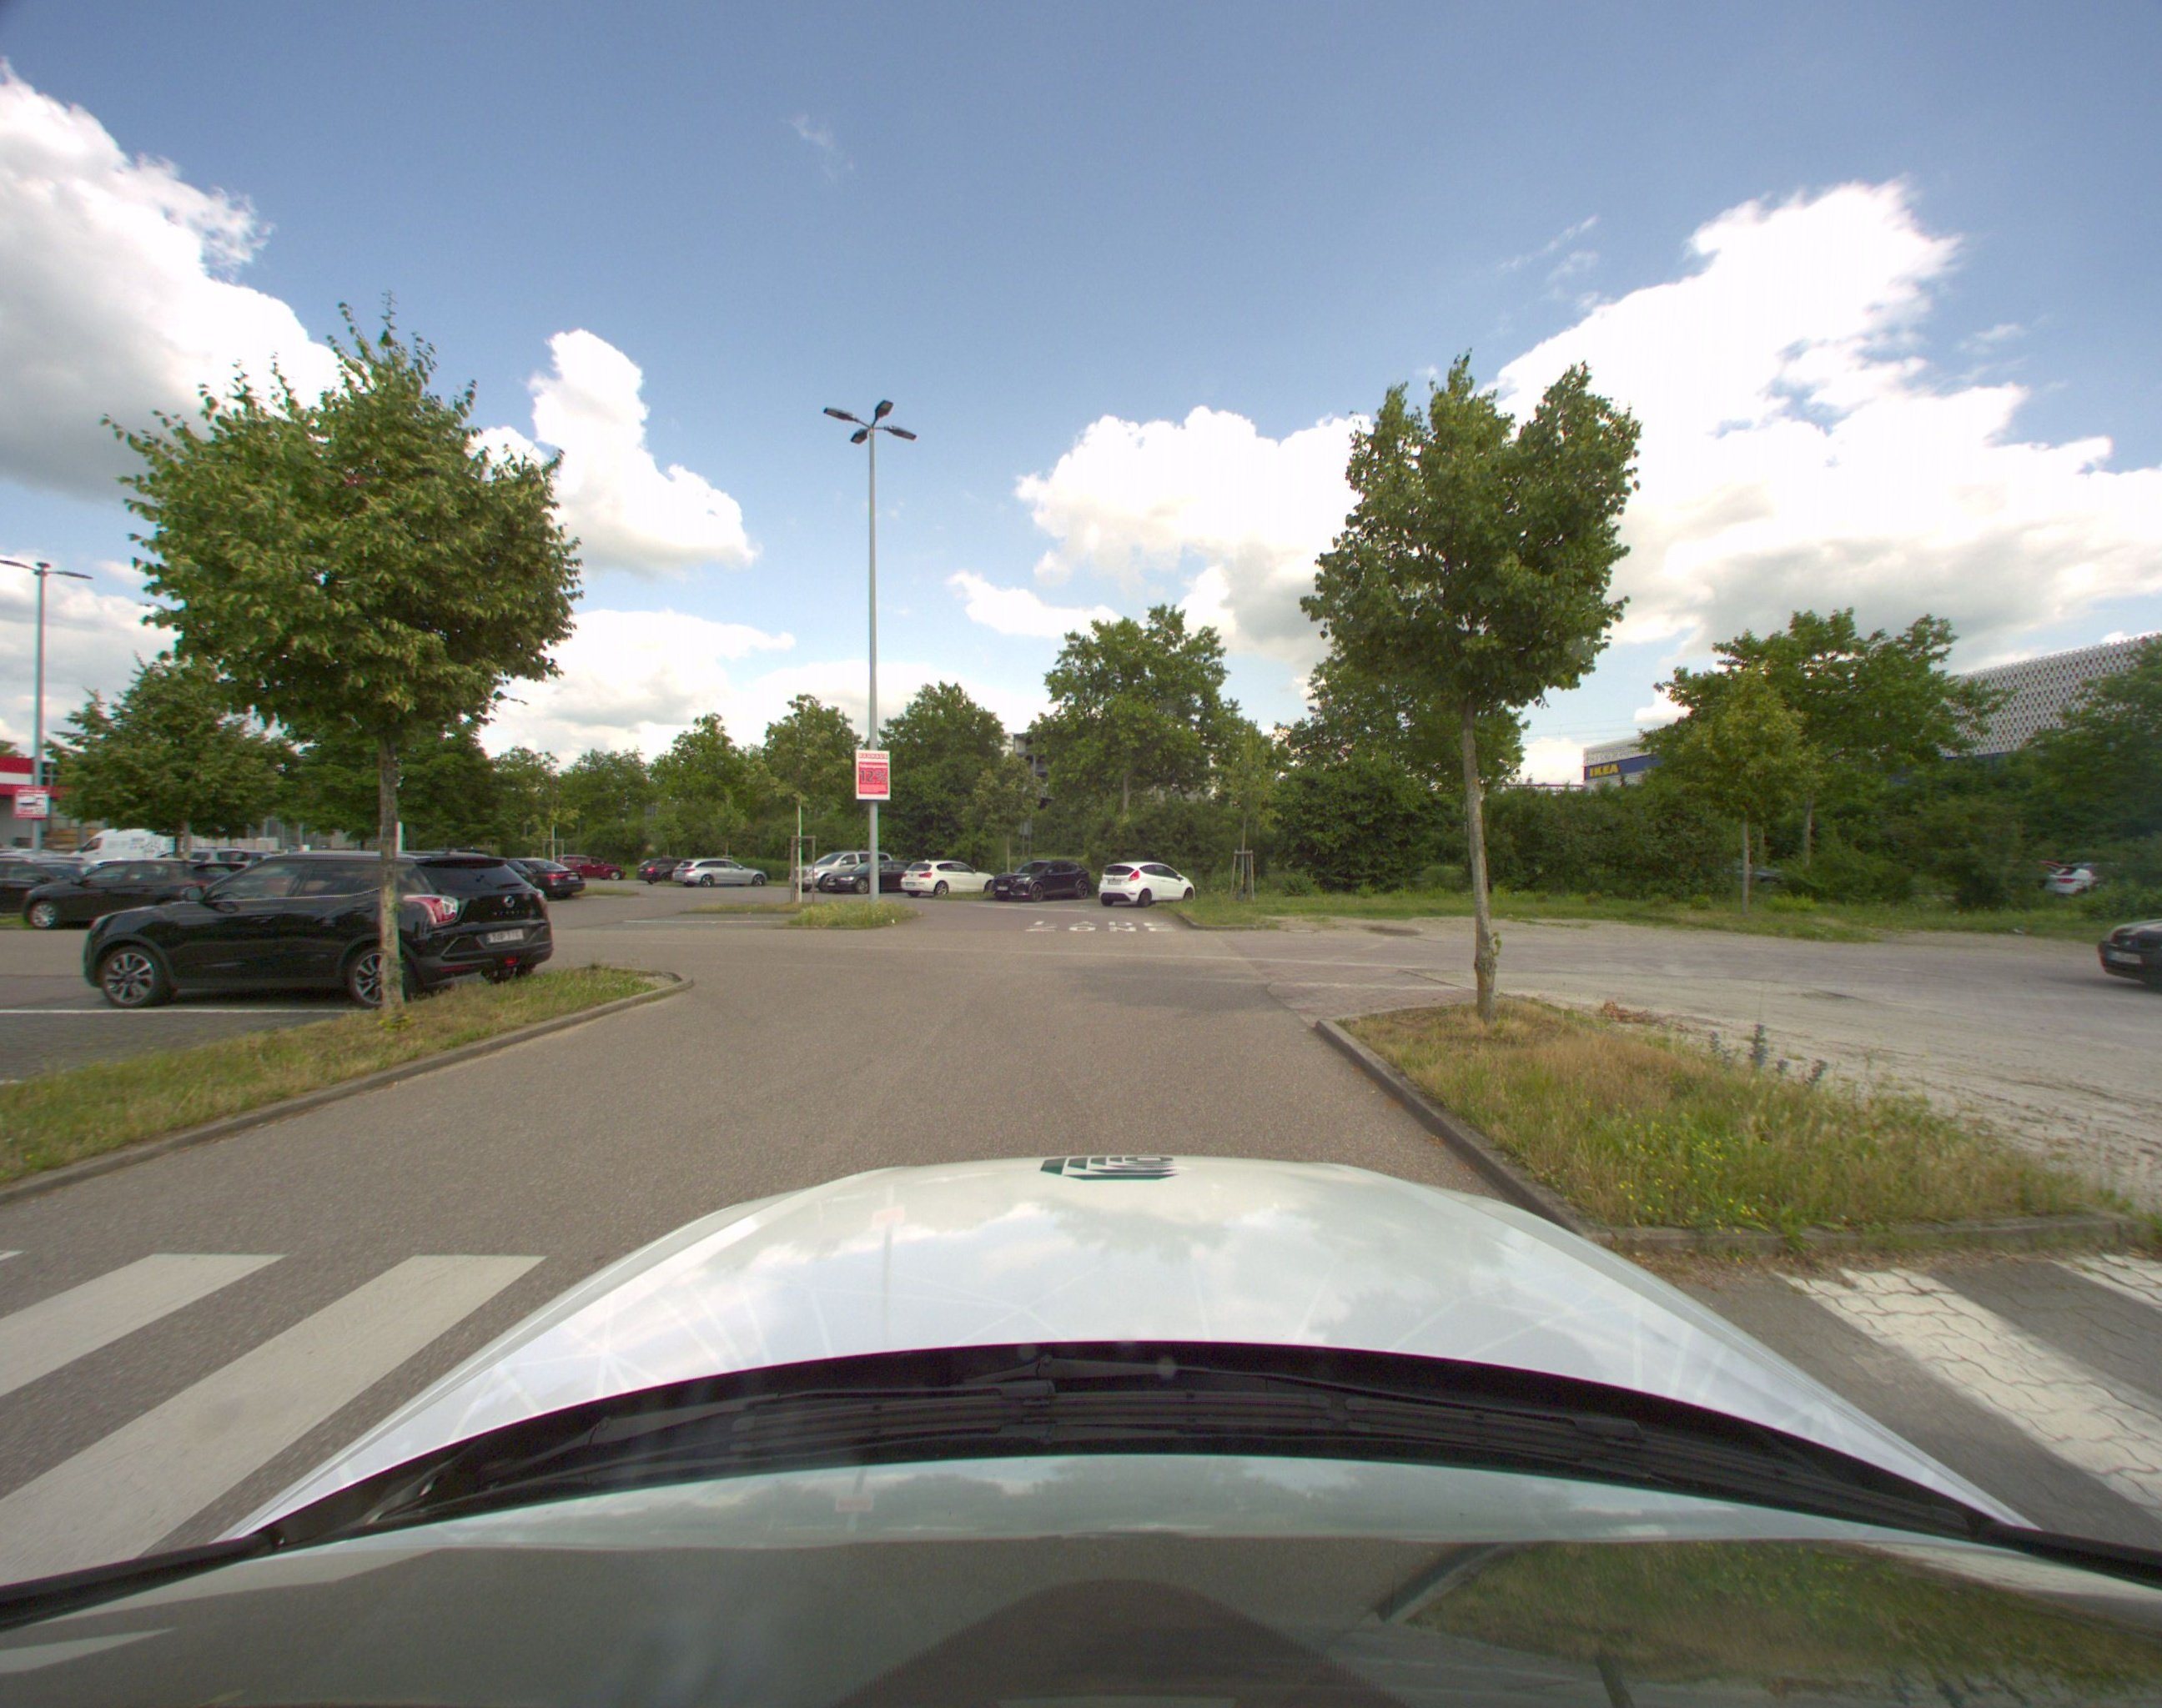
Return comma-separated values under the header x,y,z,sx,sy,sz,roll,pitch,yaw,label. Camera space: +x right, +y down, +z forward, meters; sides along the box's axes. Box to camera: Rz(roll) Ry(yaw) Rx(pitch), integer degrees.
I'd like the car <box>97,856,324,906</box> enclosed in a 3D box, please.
x,y,z,sx,sy,sz,roll,pitch,yaw,label
-24.464,0.724,23.020,4.255,1.353,1.893,0,0,-2,car

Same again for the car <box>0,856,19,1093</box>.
x,y,z,sx,sy,sz,roll,pitch,yaw,label
-8.149,0.696,4.015,3.736,1.368,1.622,0,0,1,car

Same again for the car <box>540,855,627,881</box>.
x,y,z,sx,sy,sz,roll,pitch,yaw,label
-31.970,0.843,52.433,1.974,1.596,4.348,0,0,34,car

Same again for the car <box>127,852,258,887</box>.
x,y,z,sx,sy,sz,roll,pitch,yaw,label
-41.619,0.706,38.208,3.974,1.596,1.910,0,0,-1,car

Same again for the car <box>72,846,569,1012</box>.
x,y,z,sx,sy,sz,roll,pitch,yaw,label
-8.159,0.739,8.991,3.933,1.624,1.738,0,0,3,car

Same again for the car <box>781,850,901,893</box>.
x,y,z,sx,sy,sz,roll,pitch,yaw,label
-10.887,0.733,37.320,1.965,1.842,5.180,0,0,35,car

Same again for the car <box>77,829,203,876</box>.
x,y,z,sx,sy,sz,roll,pitch,yaw,label
-53.166,-0.065,46.092,4.695,2.510,2.054,1,-1,1,car

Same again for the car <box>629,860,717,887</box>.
x,y,z,sx,sy,sz,roll,pitch,yaw,label
-22.621,1.066,45.282,1.677,1.381,4.025,-2,-1,35,car

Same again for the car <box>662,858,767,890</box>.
x,y,z,sx,sy,sz,roll,pitch,yaw,label
-18.811,0.996,42.035,1.761,1.504,4.684,0,0,35,car

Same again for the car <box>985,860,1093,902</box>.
x,y,z,sx,sy,sz,roll,pitch,yaw,label
-1.488,0.950,30.246,1.711,1.410,4.270,0,0,36,car

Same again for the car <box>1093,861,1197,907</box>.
x,y,z,sx,sy,sz,roll,pitch,yaw,label
2.186,0.939,27.151,1.649,1.411,3.579,0,0,41,car

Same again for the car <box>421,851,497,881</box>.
x,y,z,sx,sy,sz,roll,pitch,yaw,label
-44.017,0.872,57.721,1.931,2.019,4.064,-1,-2,6,car

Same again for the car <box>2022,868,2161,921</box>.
x,y,z,sx,sy,sz,roll,pitch,yaw,label
35.323,1.379,27.651,3.948,1.716,2.012,-2,-4,34,car

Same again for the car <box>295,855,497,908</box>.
x,y,z,sx,sy,sz,roll,pitch,yaw,label
-18.984,0.731,22.697,4.062,1.399,1.766,0,0,-1,car

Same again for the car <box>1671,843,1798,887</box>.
x,y,z,sx,sy,sz,roll,pitch,yaw,label
27.016,0.434,33.866,3.948,1.715,2.013,0,0,34,car

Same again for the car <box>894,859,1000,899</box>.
x,y,z,sx,sy,sz,roll,pitch,yaw,label
-5.318,0.954,32.736,1.668,1.509,4.107,-1,-1,39,car

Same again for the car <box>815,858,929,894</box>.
x,y,z,sx,sy,sz,roll,pitch,yaw,label
-9.055,0.902,35.696,1.816,1.451,4.755,0,0,37,car

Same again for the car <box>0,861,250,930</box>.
x,y,z,sx,sy,sz,roll,pitch,yaw,label
-20.500,0.847,17.362,3.855,1.369,1.730,0,0,2,car

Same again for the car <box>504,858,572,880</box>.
x,y,z,sx,sy,sz,roll,pitch,yaw,label
-38.082,1.038,57.162,1.612,1.468,3.667,-2,-2,36,car

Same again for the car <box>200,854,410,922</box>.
x,y,z,sx,sy,sz,roll,pitch,yaw,label
-18.817,0.794,19.879,3.425,1.581,1.709,0,0,-1,car

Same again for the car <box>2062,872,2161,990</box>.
x,y,z,sx,sy,sz,roll,pitch,yaw,label
14.473,0.908,9.372,3.740,1.321,1.621,0,0,25,car

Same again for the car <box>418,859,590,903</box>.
x,y,z,sx,sy,sz,roll,pitch,yaw,label
-19.373,0.887,27.463,4.511,1.432,1.772,0,0,1,car
